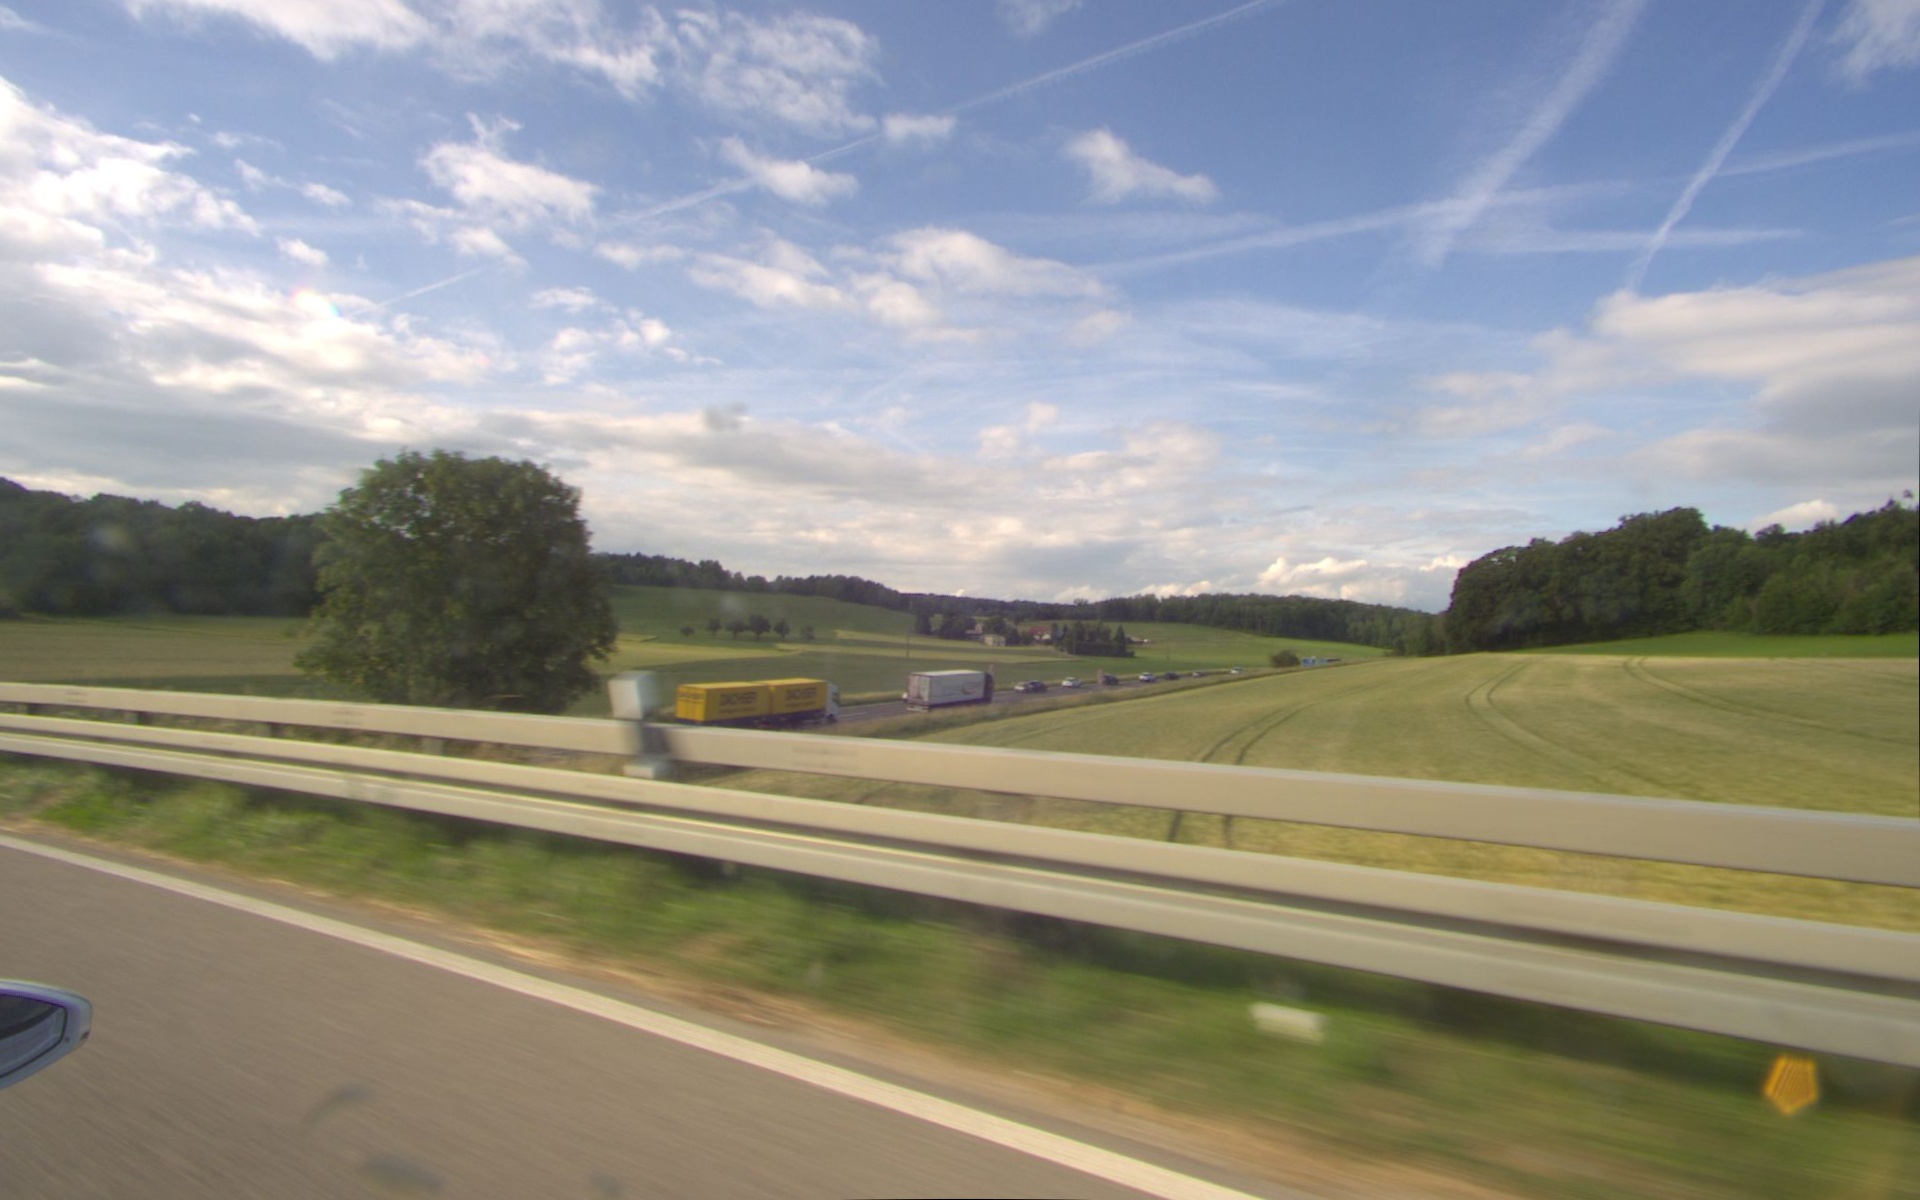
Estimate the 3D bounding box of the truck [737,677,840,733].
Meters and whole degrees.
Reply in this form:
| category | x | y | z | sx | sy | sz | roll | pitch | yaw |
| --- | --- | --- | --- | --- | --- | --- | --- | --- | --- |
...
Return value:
| category | x | y | z | sx | sy | sz | roll | pitch | yaw |
| --- | --- | --- | --- | --- | --- | --- | --- | --- | --- |
| truck | -13.959 | 8.486 | 82.525 | 3.773 | 4.110 | 9.784 | -1 | -3 | 22 |

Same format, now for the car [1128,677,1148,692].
| category | x | y | z | sx | sy | sz | roll | pitch | yaw |
| --- | --- | --- | --- | --- | --- | --- | --- | --- | --- |
| car | 26.998 | 12.789 | 151.768 | 1.969 | 2.038 | 3.987 | -3 | -4 | 27 |

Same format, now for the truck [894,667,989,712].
| category | x | y | z | sx | sy | sz | roll | pitch | yaw |
| --- | --- | --- | --- | --- | --- | --- | --- | --- | --- |
| truck | -1.720 | 9.415 | 106.780 | 4.016 | 4.045 | 14.382 | -3 | -4 | 26 |

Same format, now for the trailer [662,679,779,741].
| category | x | y | z | sx | sy | sz | roll | pitch | yaw |
| --- | --- | --- | --- | --- | --- | --- | --- | --- | --- |
| trailer | -17.489 | 7.963 | 73.971 | 3.773 | 4.110 | 9.112 | -1 | -3 | 22 |
